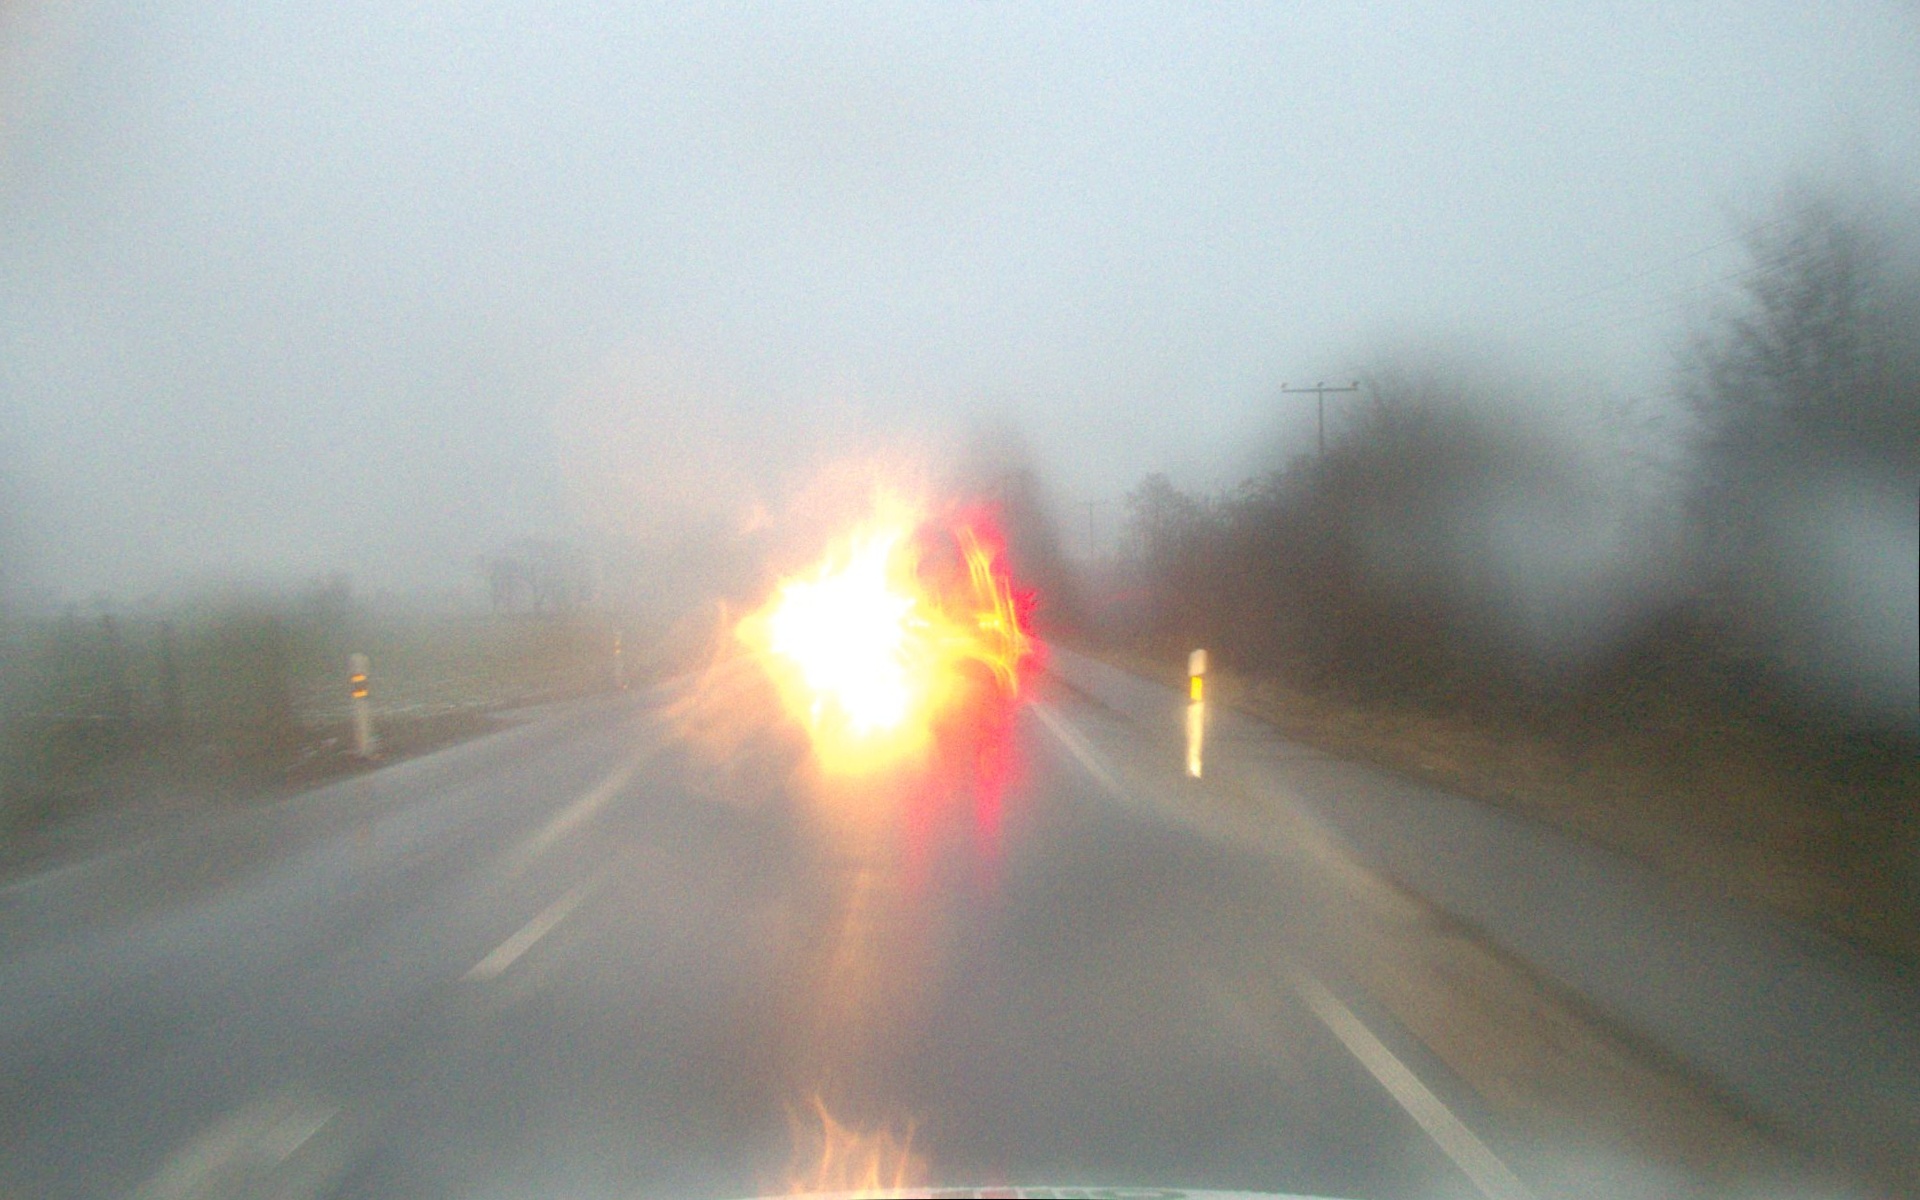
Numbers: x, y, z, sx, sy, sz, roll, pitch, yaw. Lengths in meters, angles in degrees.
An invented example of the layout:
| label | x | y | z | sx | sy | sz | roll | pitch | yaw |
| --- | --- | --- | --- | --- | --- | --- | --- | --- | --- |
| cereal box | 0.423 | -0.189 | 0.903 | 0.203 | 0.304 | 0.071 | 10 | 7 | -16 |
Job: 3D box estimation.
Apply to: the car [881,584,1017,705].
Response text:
| label | x | y | z | sx | sy | sz | roll | pitch | yaw |
| --- | --- | --- | --- | --- | --- | --- | --- | --- | --- |
| car | -0.207 | 0.782 | 27.780 | 2.077 | 1.852 | 4.978 | 0 | -2 | -1 |

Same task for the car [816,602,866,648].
| label | x | y | z | sx | sy | sz | roll | pitch | yaw |
| --- | --- | --- | --- | --- | --- | --- | --- | --- | --- |
| car | -4.656 | 0.969 | 65.303 | 1.759 | 1.715 | 4.185 | -2 | 0 | -2 |
